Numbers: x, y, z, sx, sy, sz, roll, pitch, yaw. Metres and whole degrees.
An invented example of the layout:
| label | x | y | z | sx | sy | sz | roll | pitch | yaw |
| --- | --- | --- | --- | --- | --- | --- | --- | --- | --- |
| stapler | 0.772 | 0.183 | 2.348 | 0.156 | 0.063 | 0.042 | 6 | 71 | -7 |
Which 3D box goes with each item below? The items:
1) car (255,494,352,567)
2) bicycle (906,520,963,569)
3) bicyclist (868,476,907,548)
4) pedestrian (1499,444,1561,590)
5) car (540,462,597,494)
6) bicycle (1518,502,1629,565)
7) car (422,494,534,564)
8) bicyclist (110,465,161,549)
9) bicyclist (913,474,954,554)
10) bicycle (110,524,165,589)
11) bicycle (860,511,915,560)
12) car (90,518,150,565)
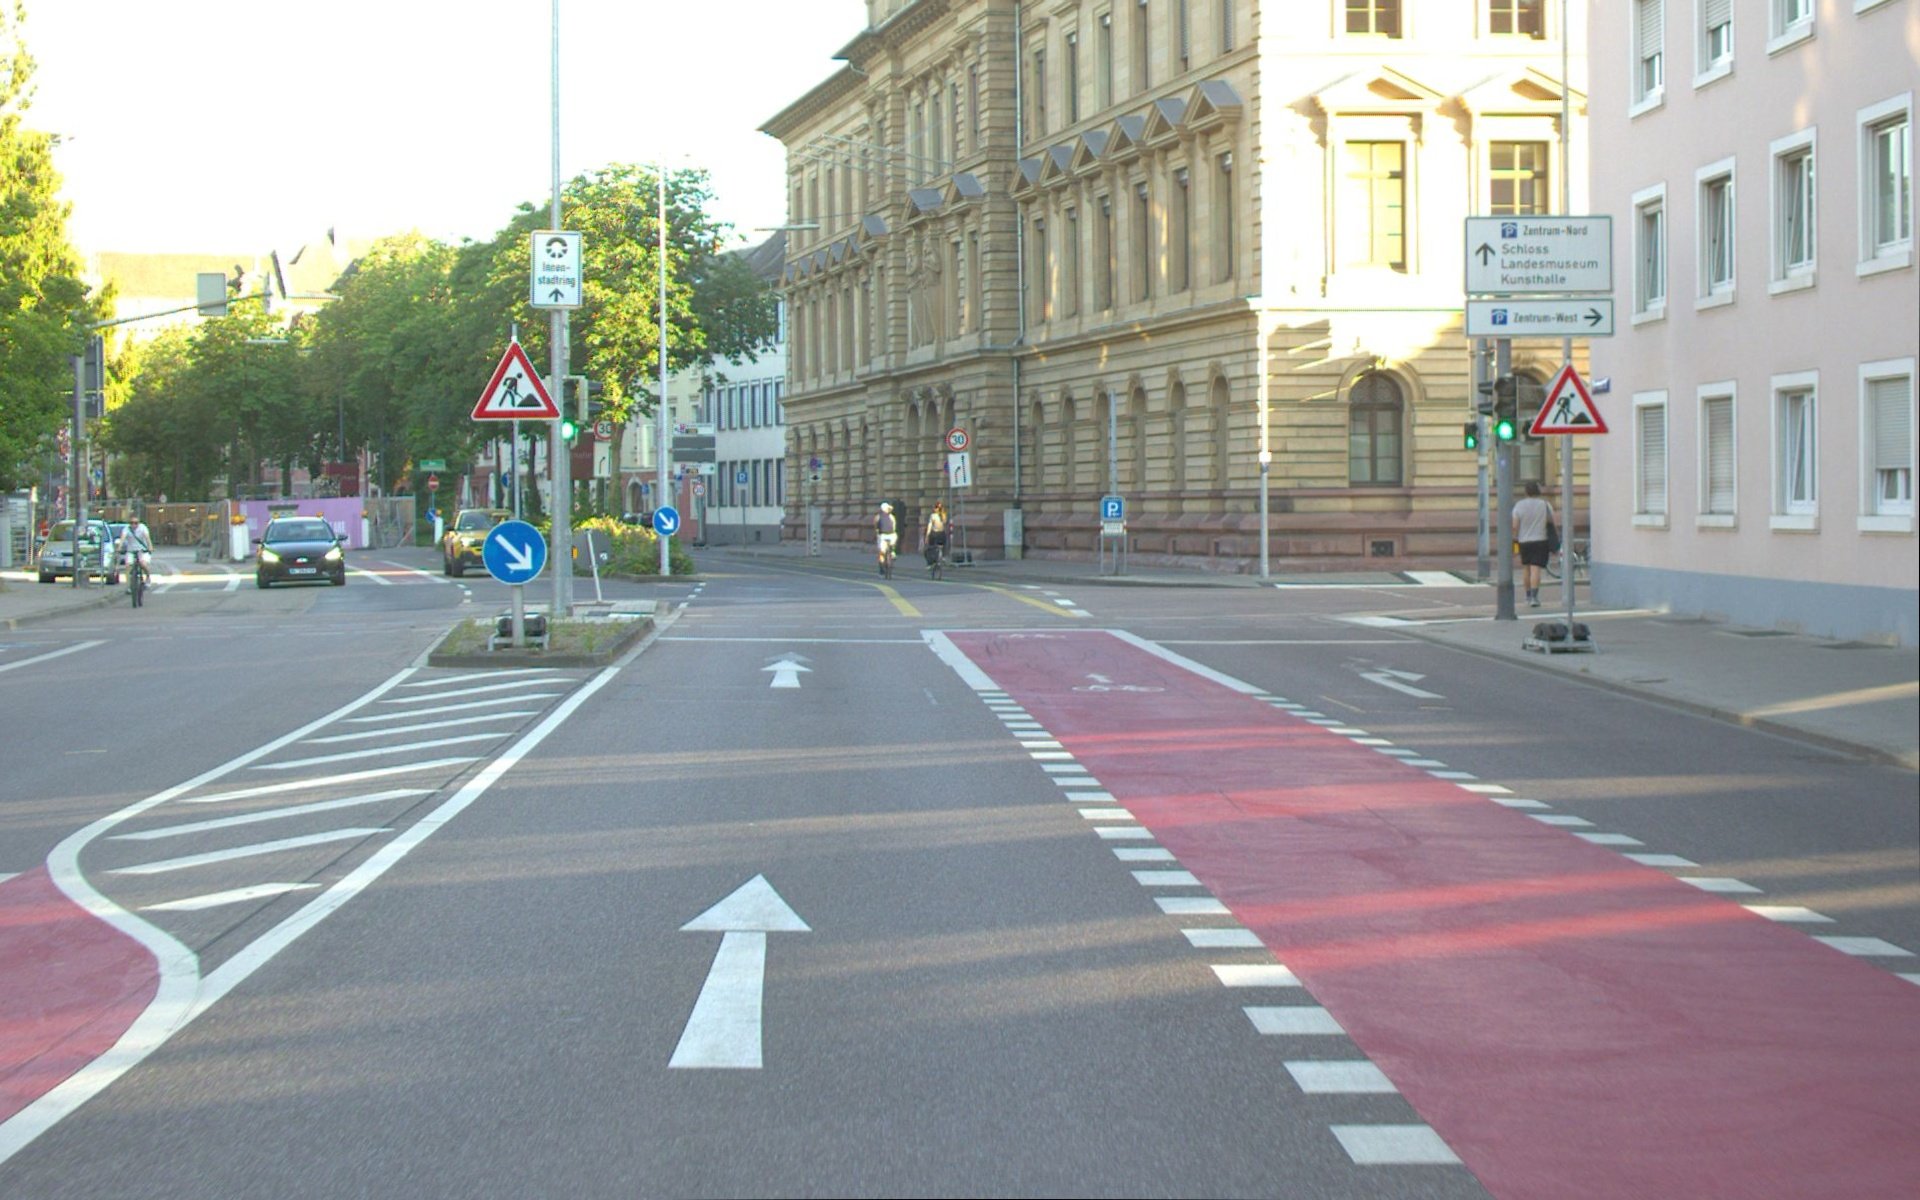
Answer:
| label | x | y | z | sx | sy | sz | roll | pitch | yaw |
| --- | --- | --- | --- | --- | --- | --- | --- | --- | --- |
| car | -14.060 | -1.524 | 73.784 | 1.823 | 1.503 | 4.428 | -1 | 2 | -8 |
| bicycle | -0.578 | -1.248 | 77.094 | 0.652 | 1.067 | 2.259 | 2 | 1 | -16 |
| bicyclist | -1.623 | -1.964 | 76.801 | 0.668 | 1.560 | 0.699 | 2 | 1 | -18 |
| pedestrian | 7.951 | -1.165 | 47.929 | 0.785 | 2.006 | 0.994 | 0 | 2 | 13 |
| car | -19.741 | -6.124 | 173.067 | 1.812 | 1.554 | 3.866 | -1 | 1 | -23 |
| bicycle | 12.410 | -1.353 | 69.612 | 2.050 | 1.203 | 0.862 | -1 | 4 | -4 |
| car | -11.060 | -1.655 | 79.145 | 1.845 | 1.542 | 4.119 | -1 | 2 | 2 |
| bicyclist | -14.640 | -1.661 | 61.055 | 0.747 | 1.455 | 0.937 | -2 | 2 | -9 |
| bicyclist | -0.594 | -1.931 | 77.205 | 0.649 | 1.754 | 0.865 | 1 | 1 | -16 |
| bicycle | -14.620 | -0.785 | 61.147 | 0.753 | 1.086 | 1.933 | -3 | 2 | -9 |
| bicycle | -1.617 | -1.450 | 76.741 | 0.669 | 1.067 | 1.902 | 1 | 1 | -19 |
| car | -25.199 | -1.772 | 103.091 | 1.679 | 1.346 | 3.888 | -2 | 2 | -14 |
